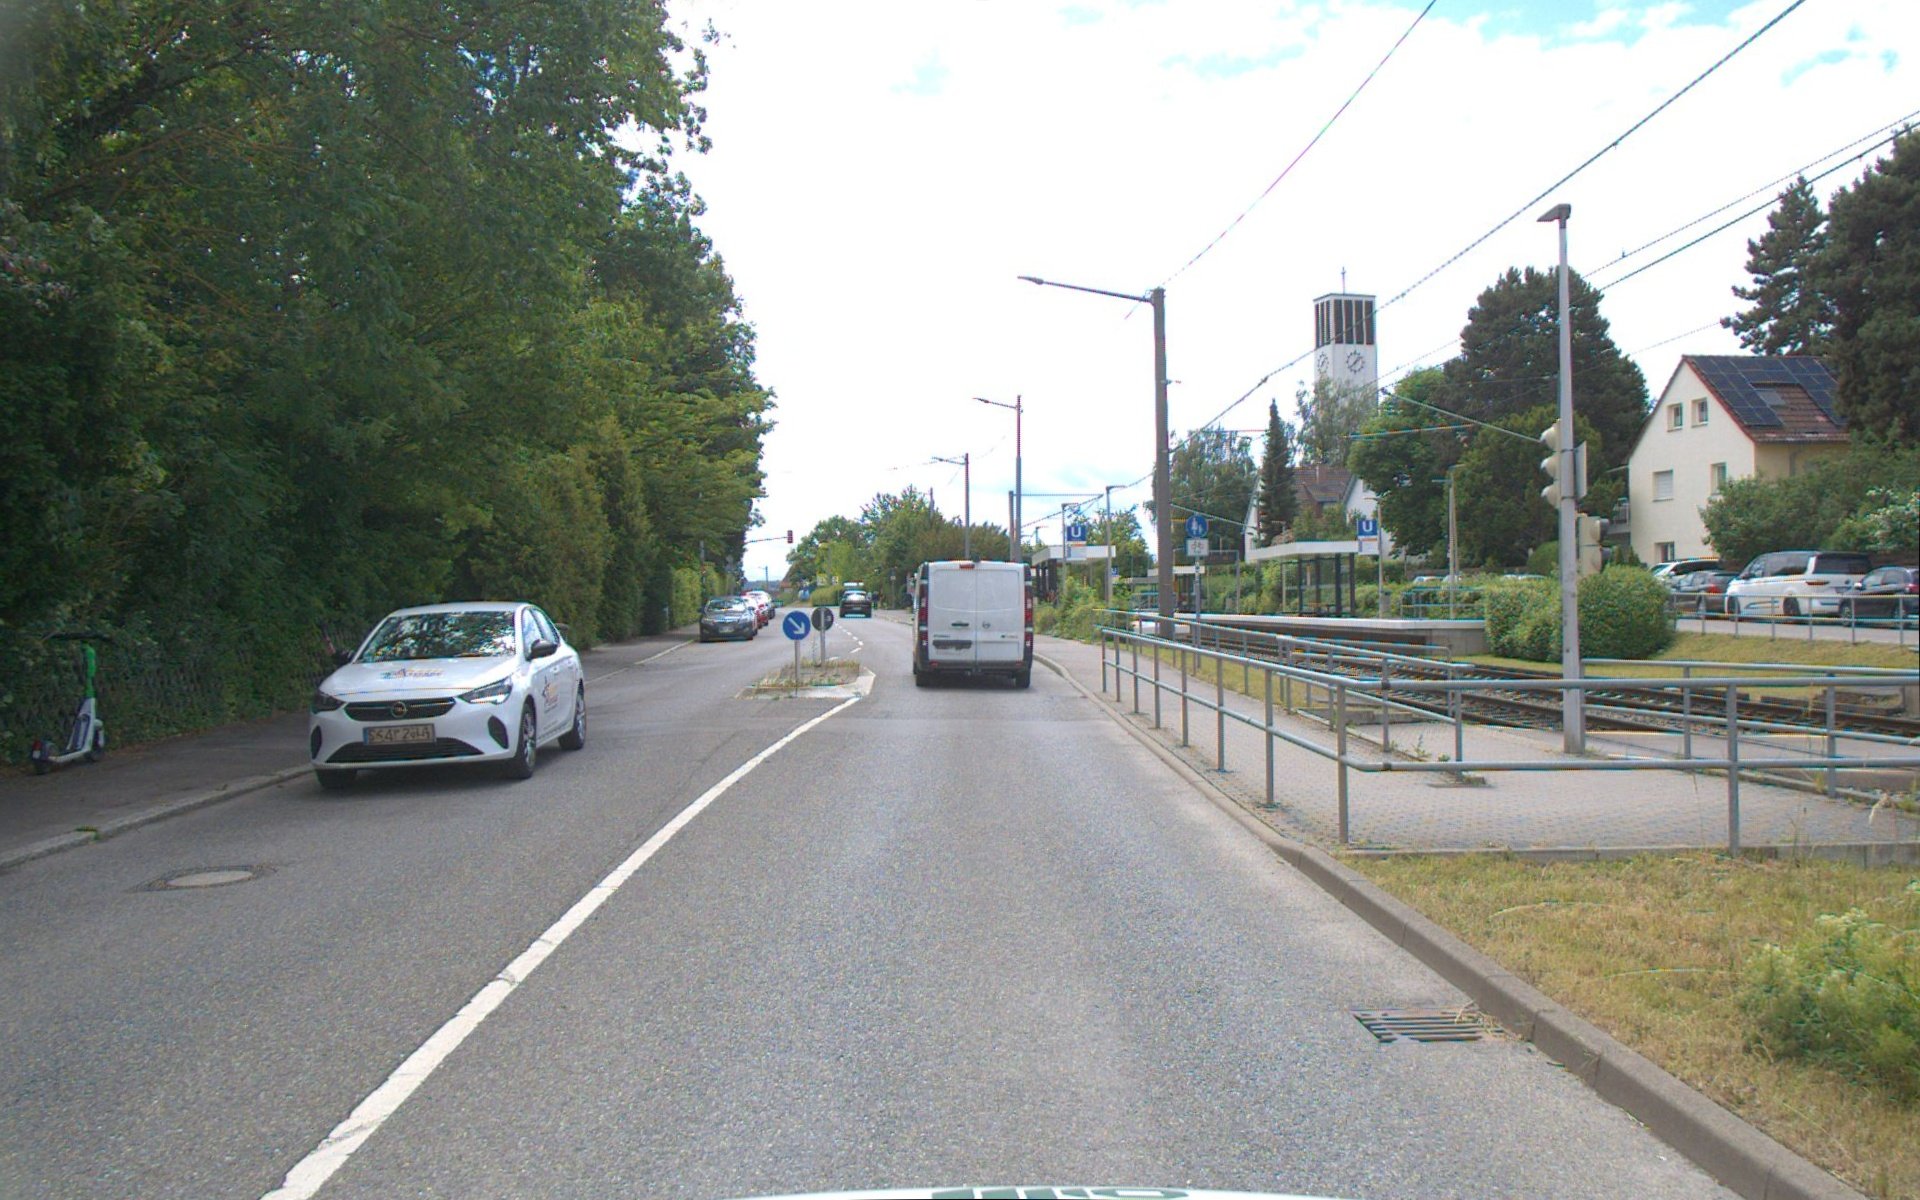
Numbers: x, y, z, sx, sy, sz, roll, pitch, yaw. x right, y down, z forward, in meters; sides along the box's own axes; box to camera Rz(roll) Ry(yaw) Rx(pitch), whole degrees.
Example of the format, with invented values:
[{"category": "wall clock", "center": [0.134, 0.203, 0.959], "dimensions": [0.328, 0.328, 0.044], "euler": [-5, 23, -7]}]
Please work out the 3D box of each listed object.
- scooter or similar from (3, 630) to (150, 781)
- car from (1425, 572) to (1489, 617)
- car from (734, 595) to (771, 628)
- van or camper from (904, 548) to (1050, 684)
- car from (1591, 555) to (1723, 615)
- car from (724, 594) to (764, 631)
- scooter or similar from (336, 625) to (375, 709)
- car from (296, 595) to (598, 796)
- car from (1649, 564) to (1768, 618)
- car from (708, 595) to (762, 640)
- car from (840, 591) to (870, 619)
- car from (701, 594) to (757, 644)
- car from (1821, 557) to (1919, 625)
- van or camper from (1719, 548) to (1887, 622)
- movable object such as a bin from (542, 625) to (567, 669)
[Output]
[{"category": "scooter or similar", "center": [-7.763, 0.891, 14.600], "dimensions": [0.400, 1.220, 1.639], "euler": [-1, 0, 0]}, {"category": "car", "center": [22.496, -0.228, 75.020], "dimensions": [1.697, 1.948, 3.934], "euler": [1, -1, 0]}, {"category": "car", "center": [-10.136, 0.554, 80.846], "dimensions": [1.728, 1.497, 4.179], "euler": [-2, 0, -7]}, {"category": "van or camper", "center": [0.185, 0.256, 27.331], "dimensions": [1.955, 2.049, 4.440], "euler": [1, -1, -6]}, {"category": "car", "center": [26.500, -0.560, 62.948], "dimensions": [4.245, 1.977, 1.744], "euler": [-4, 0, -7]}, {"category": "car", "center": [-9.553, 0.518, 73.358], "dimensions": [1.557, 1.531, 3.511], "euler": [-2, 0, -5]}, {"category": "scooter or similar", "center": [-8.331, 0.908, 22.829], "dimensions": [0.470, 1.100, 1.207], "euler": [0, 0, -19]}, {"category": "car", "center": [-4.358, 0.733, 14.629], "dimensions": [1.660, 1.455, 3.783], "euler": [-3, 0, -4]}, {"category": "car", "center": [22.805, -0.257, 50.566], "dimensions": [1.845, 1.548, 4.000], "euler": [-1, 0, 0]}, {"category": "car", "center": [-8.317, 0.619, 61.367], "dimensions": [1.703, 1.531, 3.959], "euler": [-3, 0, -5]}, {"category": "car", "center": [-6.492, 0.320, 102.347], "dimensions": [1.815, 1.677, 3.732], "euler": [-1, 0, -3]}, {"category": "car", "center": [-7.757, 0.617, 55.903], "dimensions": [1.704, 1.531, 4.471], "euler": [-3, 0, -7]}, {"category": "car", "center": [22.809, -0.225, 40.037], "dimensions": [1.845, 1.548, 4.000], "euler": [-1, 0, 0]}, {"category": "van or camper", "center": [22.690, -0.386, 44.758], "dimensions": [1.867, 1.858, 5.046], "euler": [-1, 0, -1]}, {"category": "movable object such as a bin", "center": [-8.947, 1.033, 36.482], "dimensions": [0.455, 0.946, 0.428], "euler": [3, -1, -18]}]
